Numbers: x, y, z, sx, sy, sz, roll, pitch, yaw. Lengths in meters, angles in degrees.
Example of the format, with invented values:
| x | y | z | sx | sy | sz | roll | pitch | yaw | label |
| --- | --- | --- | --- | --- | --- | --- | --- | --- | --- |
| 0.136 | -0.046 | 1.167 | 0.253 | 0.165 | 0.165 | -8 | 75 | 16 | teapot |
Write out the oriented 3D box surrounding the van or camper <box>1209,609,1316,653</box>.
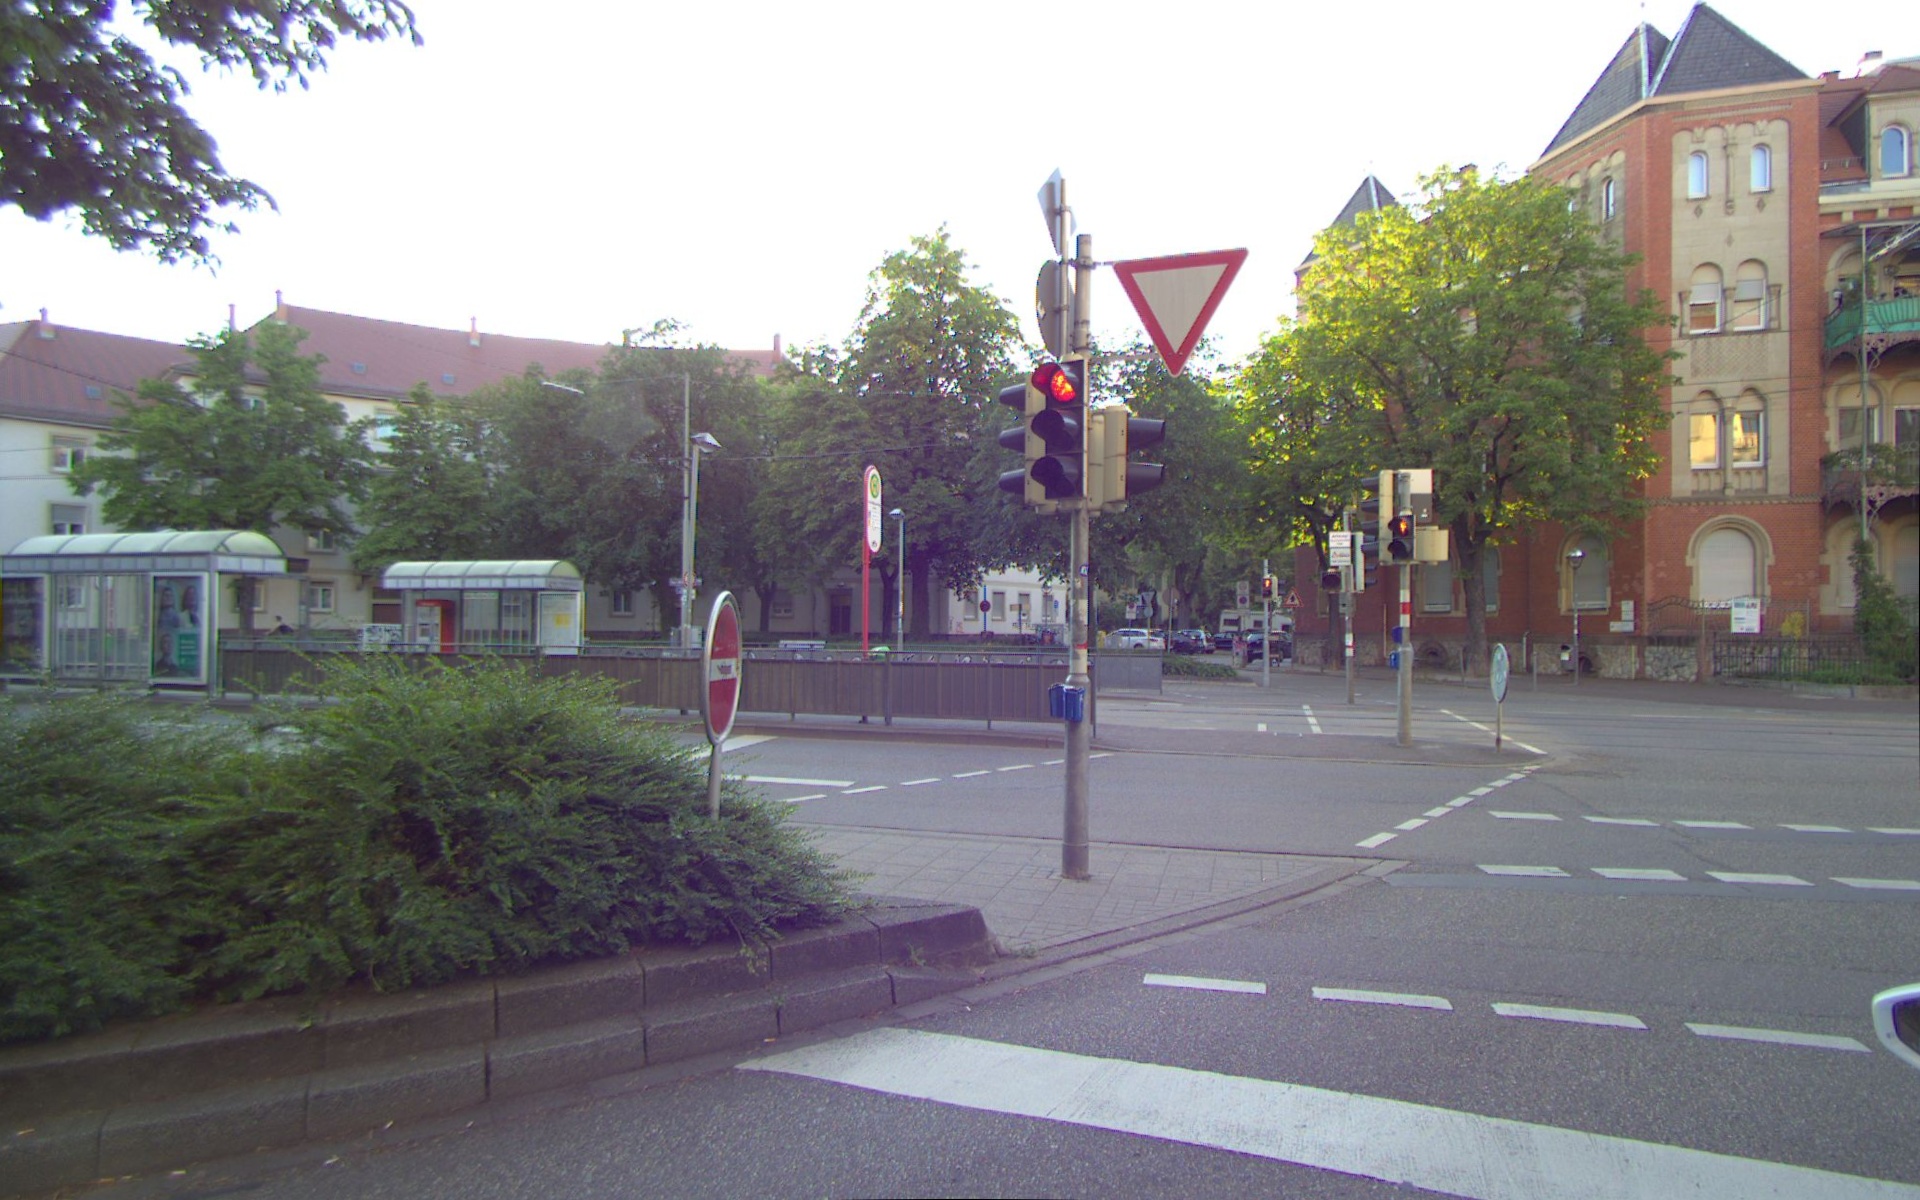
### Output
| x | y | z | sx | sy | sz | roll | pitch | yaw | label |
| --- | --- | --- | --- | --- | --- | --- | --- | --- | --- |
| 22.897 | 2.313 | 76.241 | 7.266 | 3.124 | 2.665 | 1 | -1 | 35 | van or camper |

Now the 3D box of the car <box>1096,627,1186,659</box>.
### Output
| x | y | z | sx | sy | sz | roll | pitch | yaw | label |
| --- | --- | --- | --- | --- | --- | --- | --- | --- | --- |
| 10.734 | 2.519 | 59.804 | 4.884 | 1.726 | 1.994 | 1 | -1 | 35 | car |

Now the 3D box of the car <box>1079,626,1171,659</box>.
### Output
| x | y | z | sx | sy | sz | roll | pitch | yaw | label |
| --- | --- | --- | --- | --- | --- | --- | --- | --- | --- |
| 9.500 | 2.409 | 57.945 | 4.884 | 1.726 | 1.994 | 1 | -1 | 35 | car |

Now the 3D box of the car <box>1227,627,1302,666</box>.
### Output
| x | y | z | sx | sy | sz | roll | pitch | yaw | label |
| --- | --- | --- | --- | --- | --- | --- | --- | --- | --- |
| 14.759 | 2.197 | 48.574 | 1.968 | 1.726 | 4.702 | 1 | -1 | 37 | car |

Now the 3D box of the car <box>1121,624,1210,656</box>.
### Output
| x | y | z | sx | sy | sz | roll | pitch | yaw | label |
| --- | --- | --- | --- | --- | --- | --- | --- | --- | --- |
| 12.536 | 2.405 | 61.390 | 4.884 | 1.726 | 1.994 | 1 | -1 | 35 | car |

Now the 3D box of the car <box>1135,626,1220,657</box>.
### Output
| x | y | z | sx | sy | sz | roll | pitch | yaw | label |
| --- | --- | --- | --- | --- | --- | --- | --- | --- | --- |
| 13.886 | 2.624 | 64.152 | 4.884 | 1.726 | 1.994 | 1 | -1 | 35 | car |

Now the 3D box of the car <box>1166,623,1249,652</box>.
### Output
| x | y | z | sx | sy | sz | roll | pitch | yaw | label |
| --- | --- | --- | --- | --- | --- | --- | --- | --- | --- |
| 16.251 | 2.428 | 66.028 | 4.884 | 1.726 | 1.994 | 1 | -1 | 35 | car |

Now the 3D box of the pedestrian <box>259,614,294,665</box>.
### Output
| x | y | z | sx | sy | sz | roll | pitch | yaw | label |
| --- | --- | --- | --- | --- | --- | --- | --- | --- | --- |
| -28.877 | 1.668 | 42.451 | 1.047 | 2.113 | 1.007 | 1 | -2 | -28 | pedestrian |
